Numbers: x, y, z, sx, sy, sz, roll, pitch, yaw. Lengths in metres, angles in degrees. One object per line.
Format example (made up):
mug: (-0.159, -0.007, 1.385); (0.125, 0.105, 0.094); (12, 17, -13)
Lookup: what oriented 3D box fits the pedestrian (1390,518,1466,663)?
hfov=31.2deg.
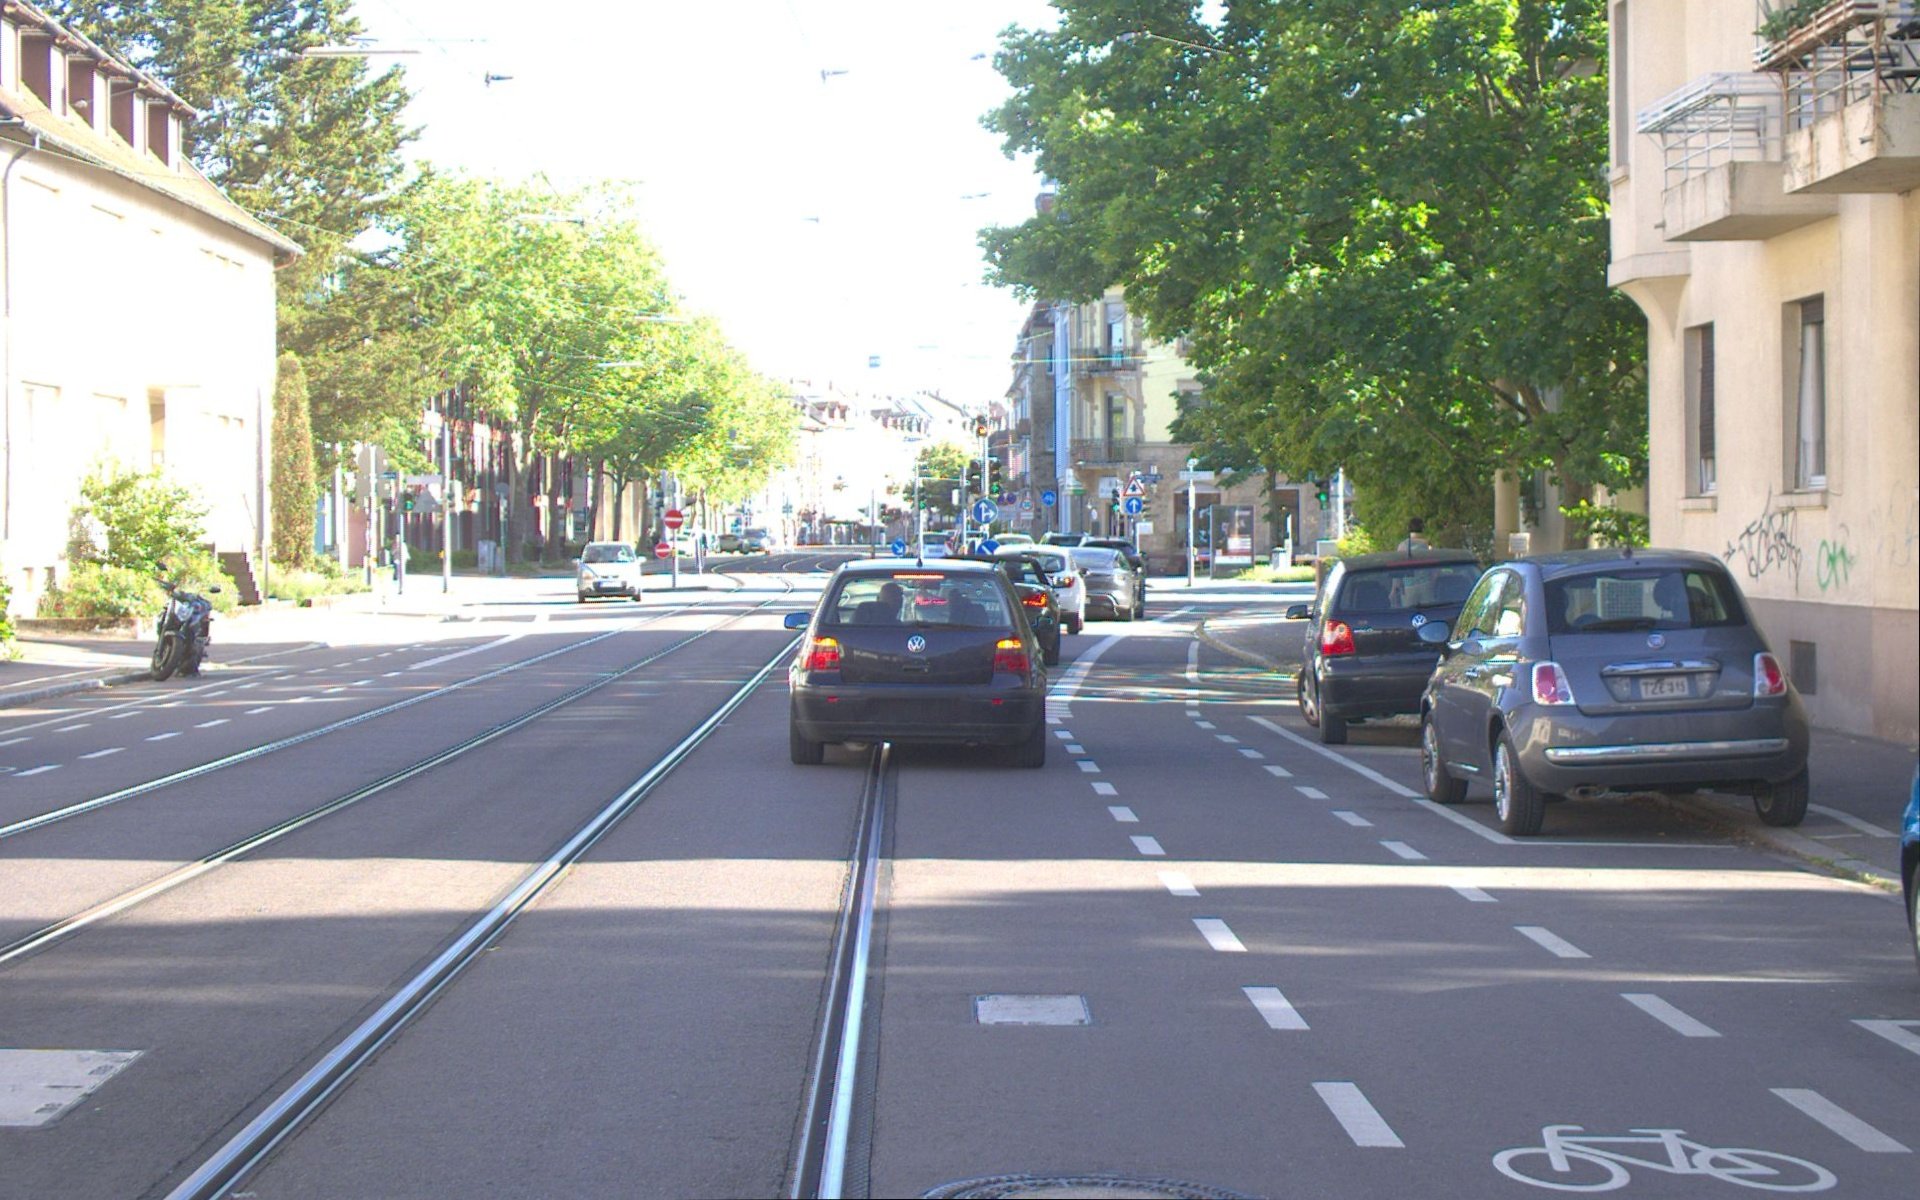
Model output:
pedestrian: (5.514, -0.121, 40.531); (0.717, 1.682, 0.870); (-1, 1, -2)

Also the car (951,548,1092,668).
car: (0.722, 0.068, 41.956); (1.634, 1.367, 3.757); (0, 1, 0)

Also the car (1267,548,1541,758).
car: (3.522, 0.373, 27.876); (1.665, 1.558, 3.771); (1, 1, -1)

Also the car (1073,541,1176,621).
car: (3.076, -0.378, 64.868); (1.569, 1.306, 3.648); (0, 4, -3)

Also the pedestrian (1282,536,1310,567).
pedestrian: (12.829, -1.858, 131.300); (0.979, 1.183, 0.743); (0, 1, -1)

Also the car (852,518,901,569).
car: (-3.253, -2.208, 133.505); (1.787, 1.853, 4.001); (2, 1, -2)

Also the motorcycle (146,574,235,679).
motorcycle: (-9.026, 0.293, 40.372); (0.536, 1.158, 2.172); (-2, 1, 0)

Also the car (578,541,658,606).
car: (-8.139, -0.649, 82.060); (1.575, 1.472, 3.441); (-1, 1, -1)

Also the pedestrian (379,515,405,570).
pedestrian: (-17.768, -1.789, 107.575); (0.609, 1.684, 0.734); (2, 1, -19)

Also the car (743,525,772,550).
car: (-14.835, -4.610, 251.505); (1.971, 1.809, 4.297); (0, 1, -5)

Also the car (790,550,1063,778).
car: (-0.238, 0.382, 24.065); (1.716, 1.398, 4.006); (2, 1, -1)

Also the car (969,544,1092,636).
car: (1.193, -0.193, 56.323); (1.740, 1.436, 3.809); (0, 1, 5)

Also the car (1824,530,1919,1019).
car: (3.911, 0.603, 10.670); (1.457, 1.593, 3.294); (1, 1, -3)

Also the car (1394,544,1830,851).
car: (3.564, 0.473, 19.390); (1.601, 1.520, 3.550); (1, 1, -3)
